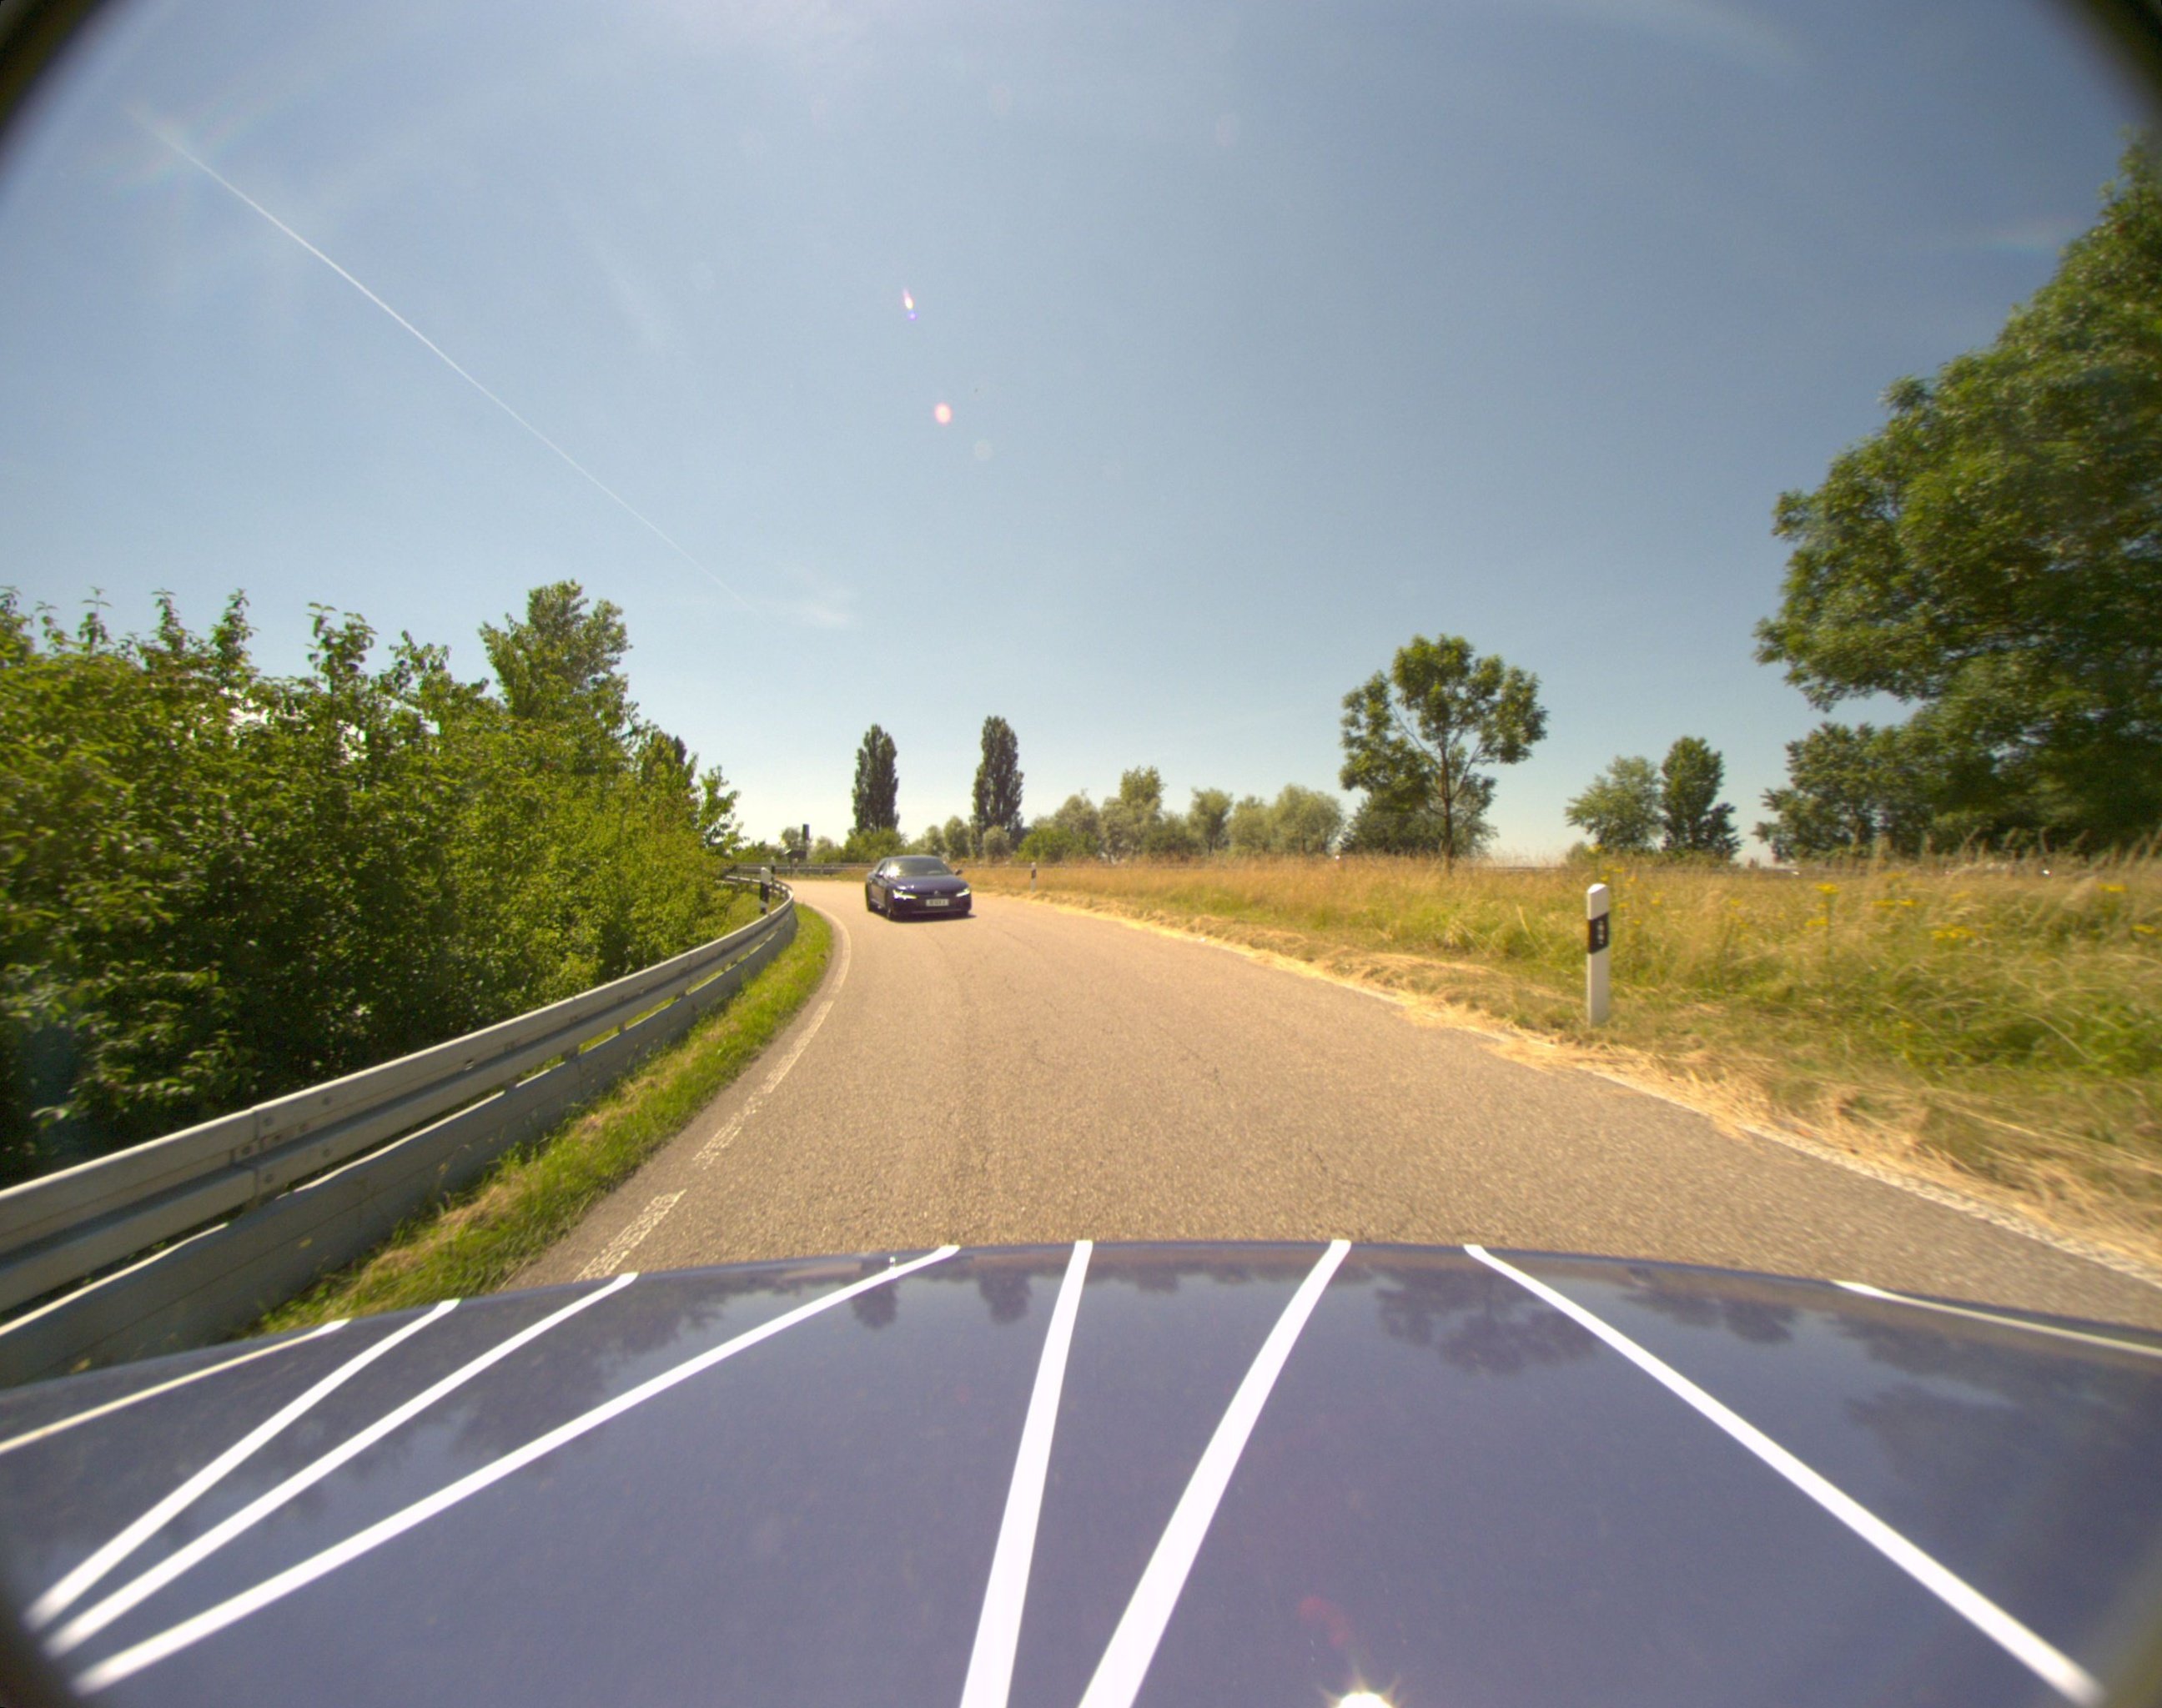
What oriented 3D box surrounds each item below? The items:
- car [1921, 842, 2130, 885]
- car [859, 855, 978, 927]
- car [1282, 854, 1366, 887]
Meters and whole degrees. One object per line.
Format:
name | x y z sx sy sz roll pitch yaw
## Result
car | 35.821 0.350 29.014 4.633 1.564 2.003 0 0 20
car | -4.112 0.795 18.632 1.846 1.422 4.524 -4 2 -25
car | 12.429 0.859 38.851 3.991 1.602 1.834 -1 1 20
